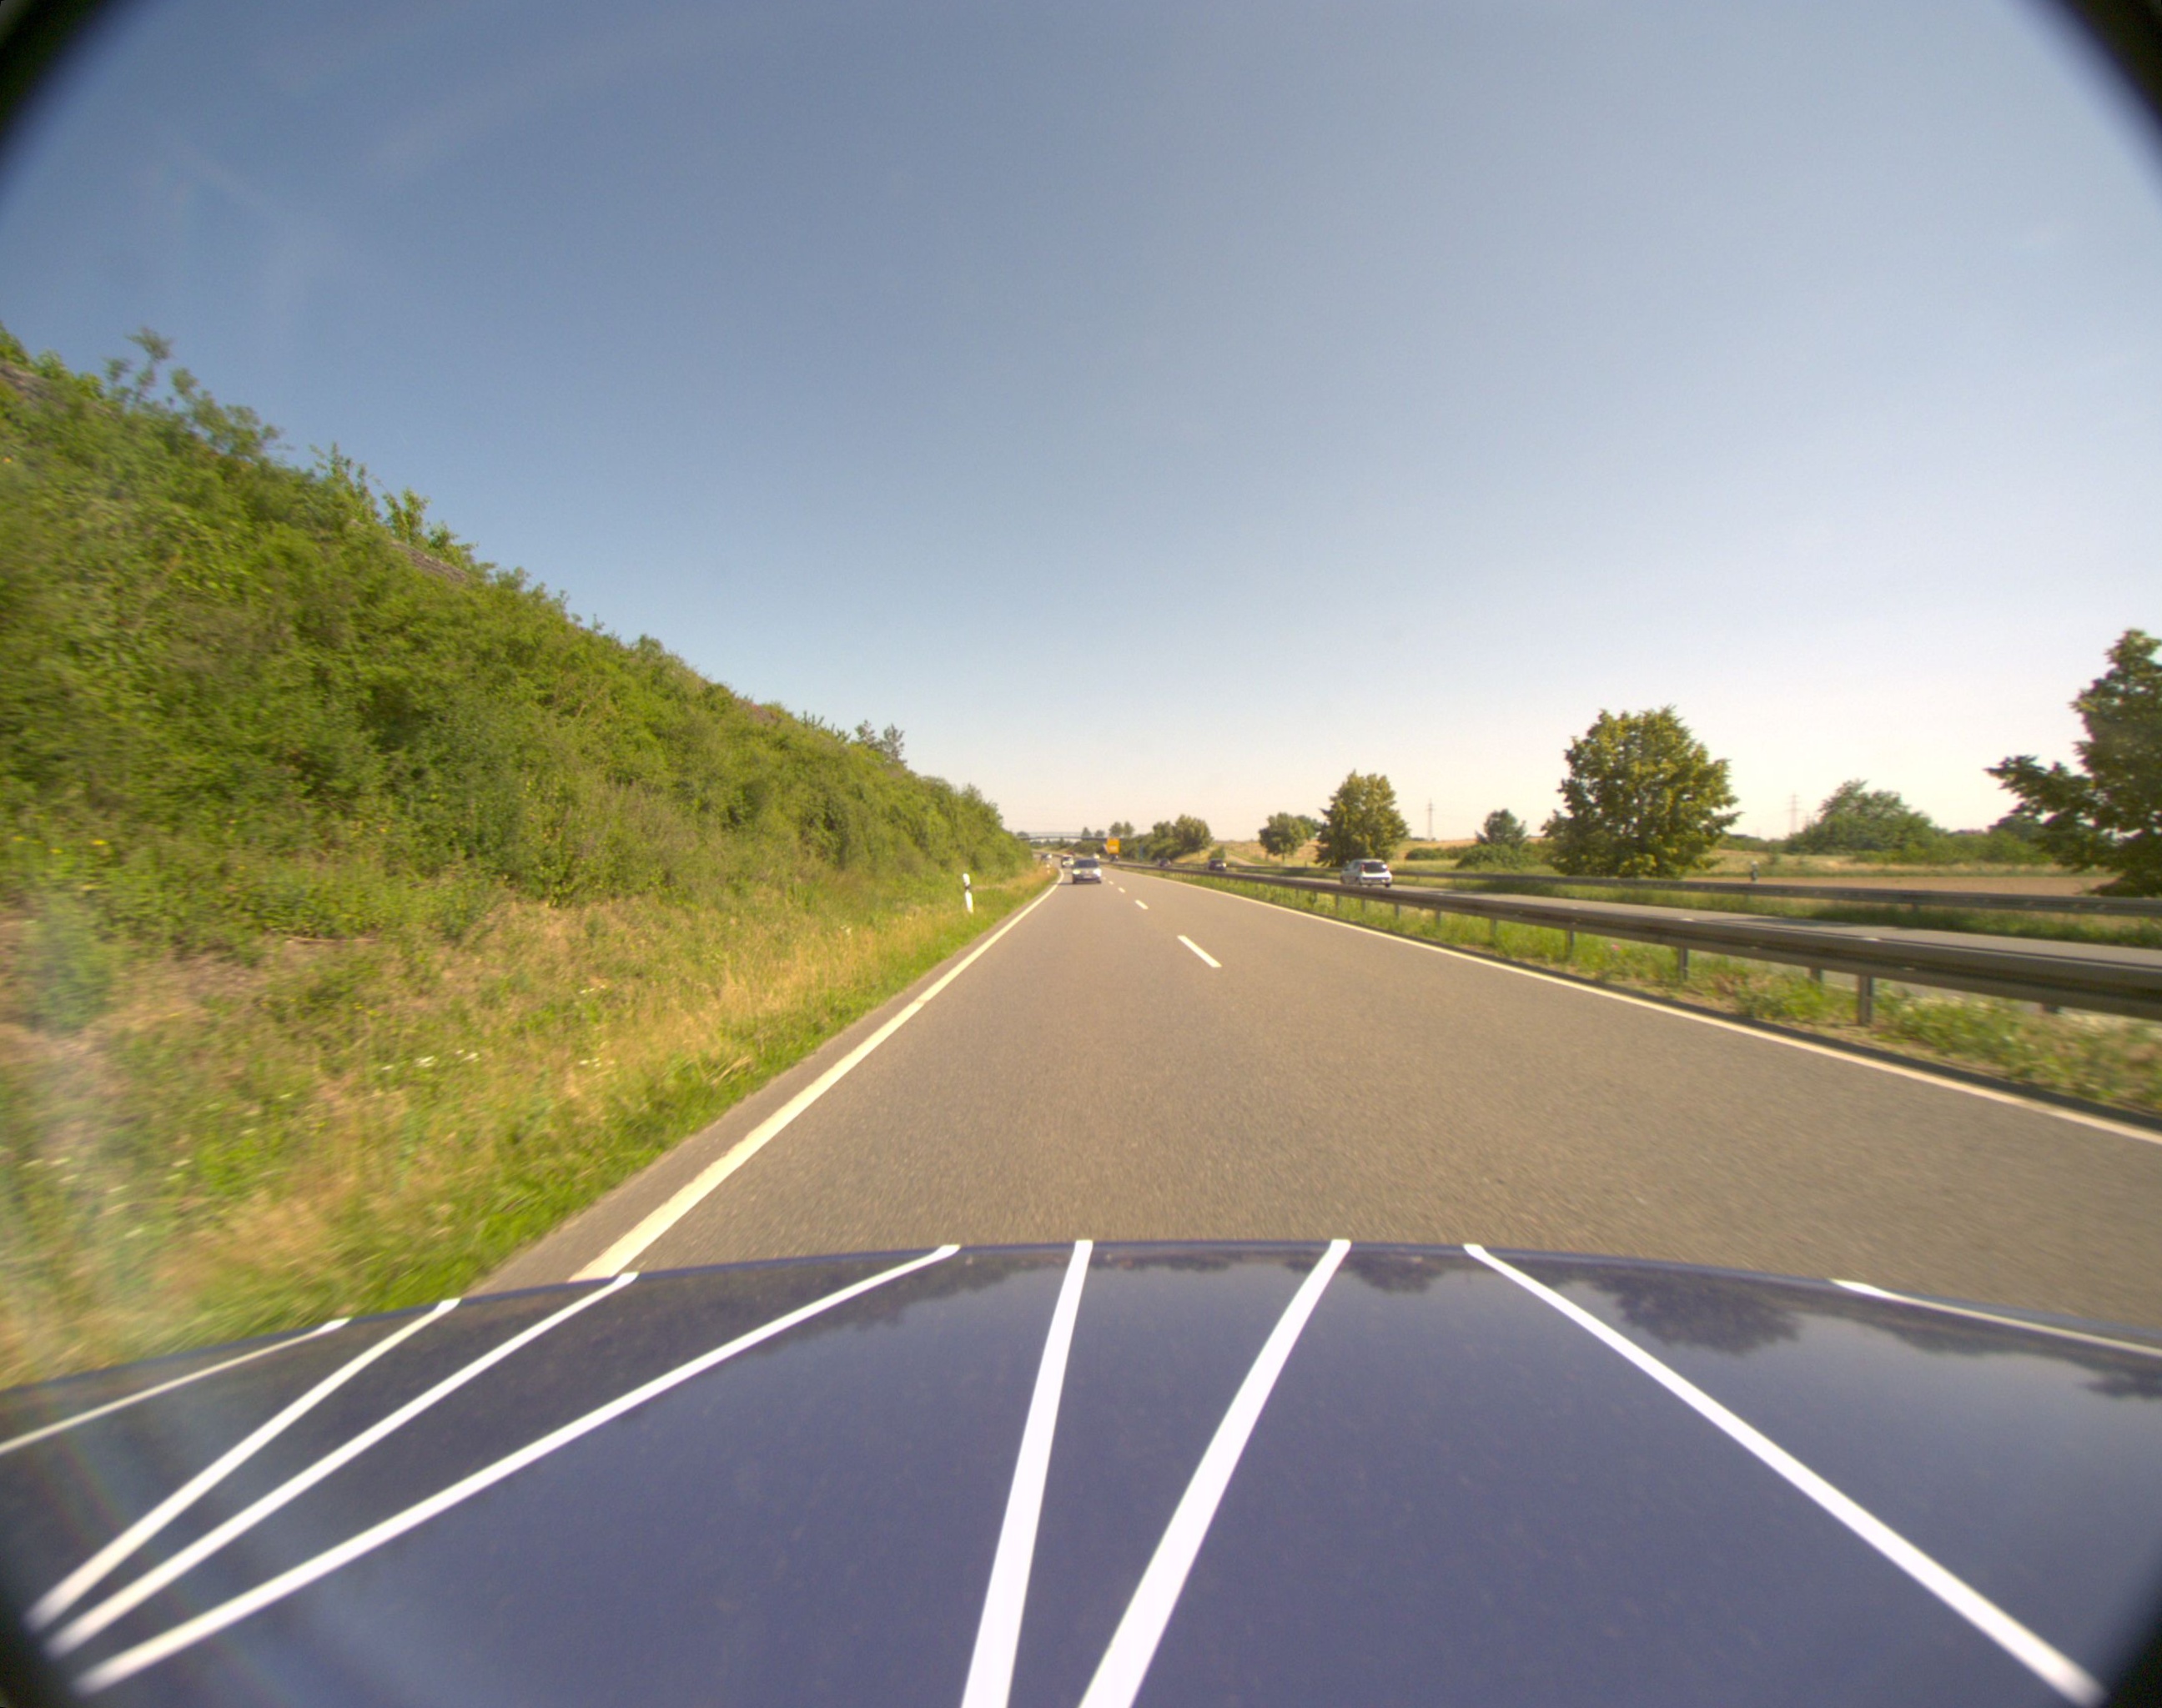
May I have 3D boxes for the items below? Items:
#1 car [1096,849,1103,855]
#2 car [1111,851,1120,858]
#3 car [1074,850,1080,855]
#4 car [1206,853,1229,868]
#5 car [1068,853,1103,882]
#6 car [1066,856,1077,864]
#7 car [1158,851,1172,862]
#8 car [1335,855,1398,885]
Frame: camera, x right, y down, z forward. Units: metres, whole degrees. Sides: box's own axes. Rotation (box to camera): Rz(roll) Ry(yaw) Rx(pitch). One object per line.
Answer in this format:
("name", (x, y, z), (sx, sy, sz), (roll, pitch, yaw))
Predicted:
("car", (5.140, -0.559, 210.681), (1.673, 1.424, 4.347), (-3, 1, -2))
("car", (8.182, 0.091, 181.936), (1.759, 1.524, 3.999), (-3, 0, -3))
("car", (-1.322, -0.522, 246.021), (1.877, 1.393, 4.321), (-3, 1, -3))
("car", (13.893, 0.656, 77.716), (1.694, 1.532, 4.244), (-1, 0, 2))
("car", (0.330, 0.814, 47.776), (1.854, 1.635, 4.001), (-2, 1, 4))
("car", (-1.605, 1.066, 129.589), (1.790, 1.212, 3.998), (-1, 1, -2))
("car", (13.189, 0.375, 119.261), (1.656, 1.544, 4.561), (-3, 0, 0))
("car", (14.604, 0.773, 39.071), (1.694, 1.428, 3.939), (-1, 0, -1))
